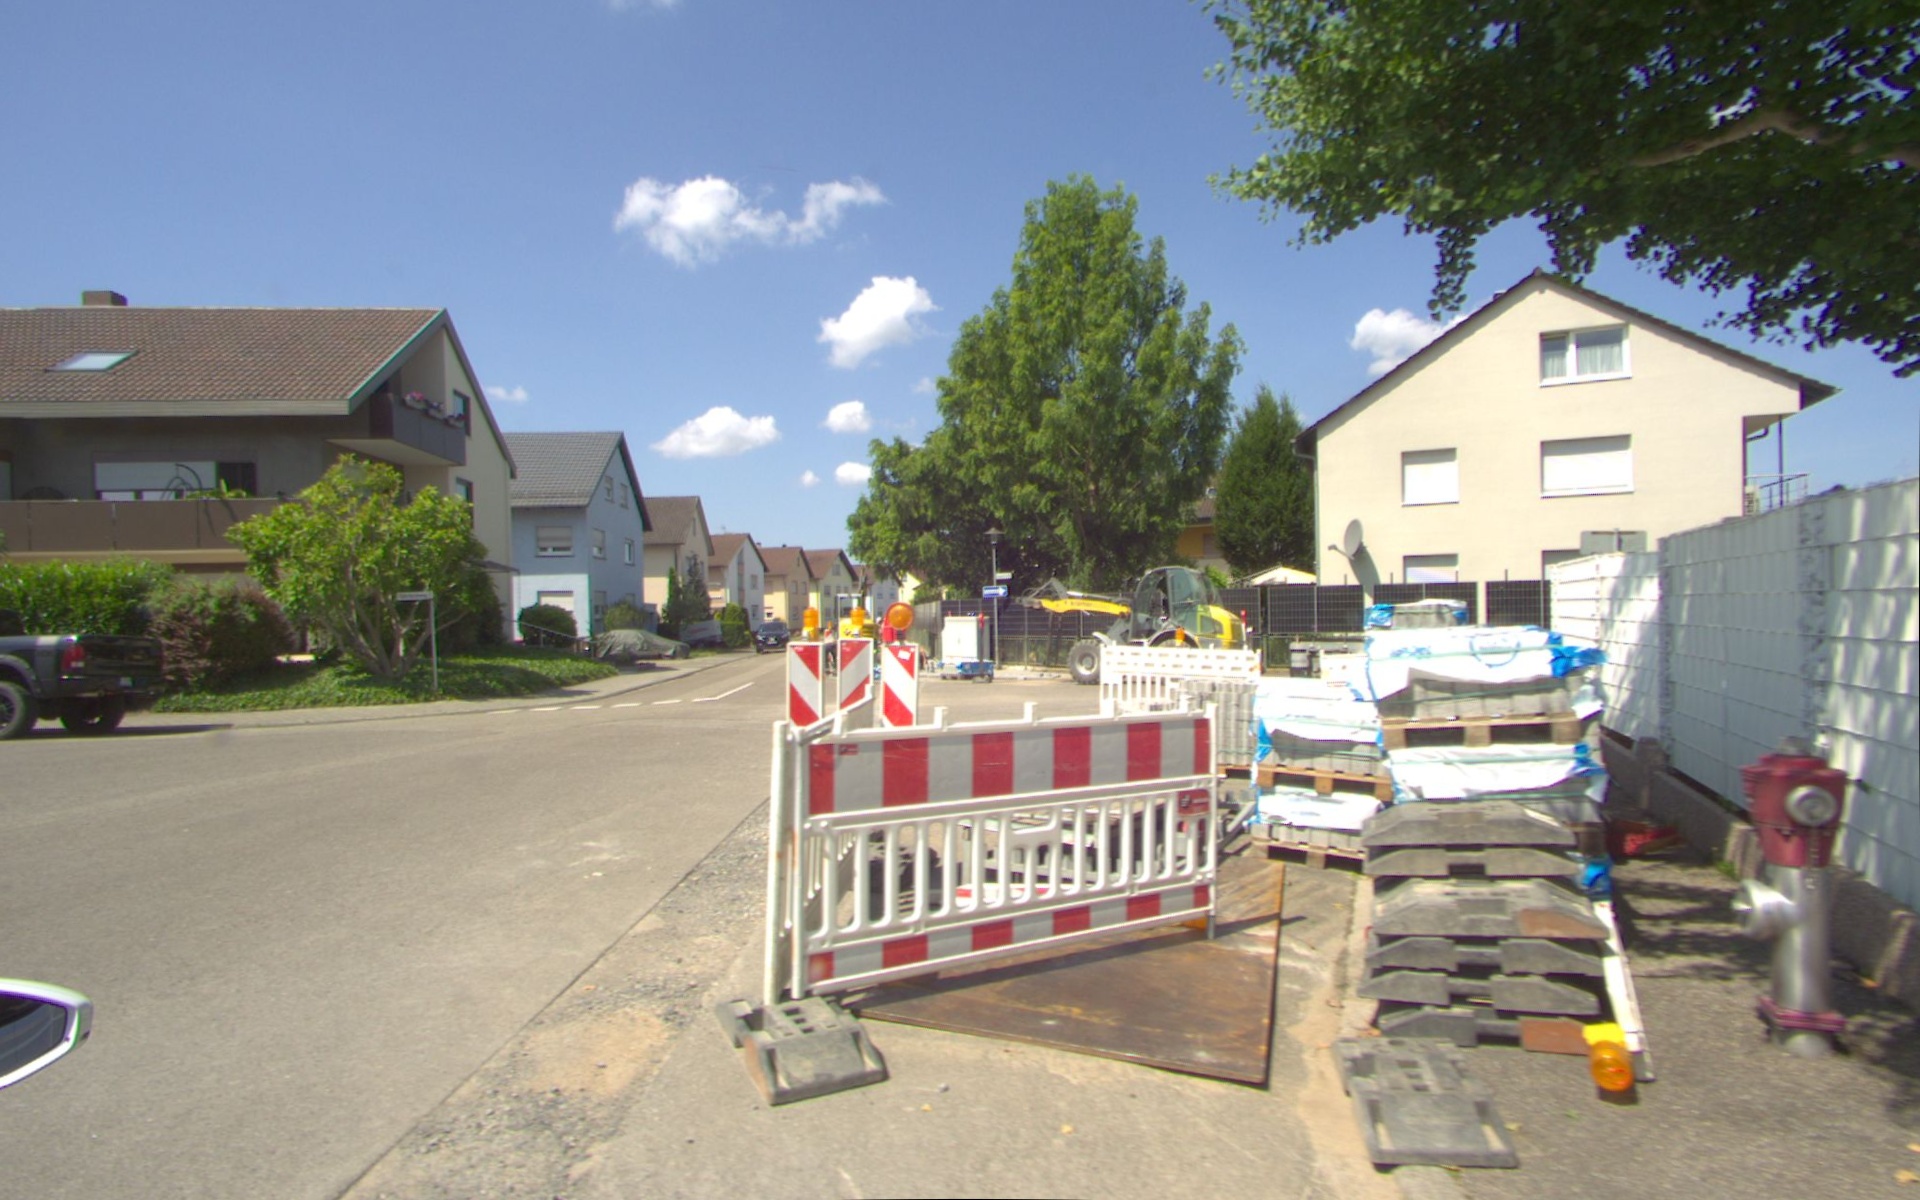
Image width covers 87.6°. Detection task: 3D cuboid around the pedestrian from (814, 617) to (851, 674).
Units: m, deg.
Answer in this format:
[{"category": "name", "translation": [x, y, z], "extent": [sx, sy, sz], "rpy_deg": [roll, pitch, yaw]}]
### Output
[{"category": "pedestrian", "translation": [-3.527, 1.252, 27.697], "extent": [0.527, 1.534, 0.843], "rpy_deg": [-2, 0, 44]}]

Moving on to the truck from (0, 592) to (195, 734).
[{"category": "truck", "translation": [-15.673, 1.026, 15.518], "extent": [5.603, 2.038, 2.373], "rpy_deg": [-1, -3, -7]}]

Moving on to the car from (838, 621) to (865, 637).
[{"category": "car", "translation": [-11.718, 3.128, 108.169], "extent": [1.931, 1.672, 3.999], "rpy_deg": [-1, -1, 9]}]

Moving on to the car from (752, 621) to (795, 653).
[{"category": "car", "translation": [-9.965, 1.947, 53.681], "extent": [1.883, 1.562, 3.999], "rpy_deg": [-1, -1, -6]}]

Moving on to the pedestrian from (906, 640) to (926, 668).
[{"category": "pedestrian", "translation": [-1.323, 1.612, 29.863], "extent": [0.513, 0.803, 0.431], "rpy_deg": [-2, 0, -11]}]

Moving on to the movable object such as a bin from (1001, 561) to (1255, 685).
[{"category": "movable object such as a bin", "translation": [3.651, 0.581, 22.022], "extent": [5.150, 2.483, 1.993], "rpy_deg": [-2, -3, 27]}]

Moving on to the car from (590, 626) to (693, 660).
[{"category": "car", "translation": [-13.833, 1.853, 43.674], "extent": [3.923, 1.359, 2.000], "rpy_deg": [-1, -1, -6]}]

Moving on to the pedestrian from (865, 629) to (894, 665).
[{"category": "pedestrian", "translation": [-2.702, 1.575, 33.535], "extent": [0.506, 1.184, 0.817], "rpy_deg": [-2, 0, 44]}]

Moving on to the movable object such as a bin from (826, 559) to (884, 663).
[{"category": "movable object such as a bin", "translation": [-3.862, 0.420, 37.307], "extent": [1.961, 3.612, 3.815], "rpy_deg": [-1, 0, -4]}]
